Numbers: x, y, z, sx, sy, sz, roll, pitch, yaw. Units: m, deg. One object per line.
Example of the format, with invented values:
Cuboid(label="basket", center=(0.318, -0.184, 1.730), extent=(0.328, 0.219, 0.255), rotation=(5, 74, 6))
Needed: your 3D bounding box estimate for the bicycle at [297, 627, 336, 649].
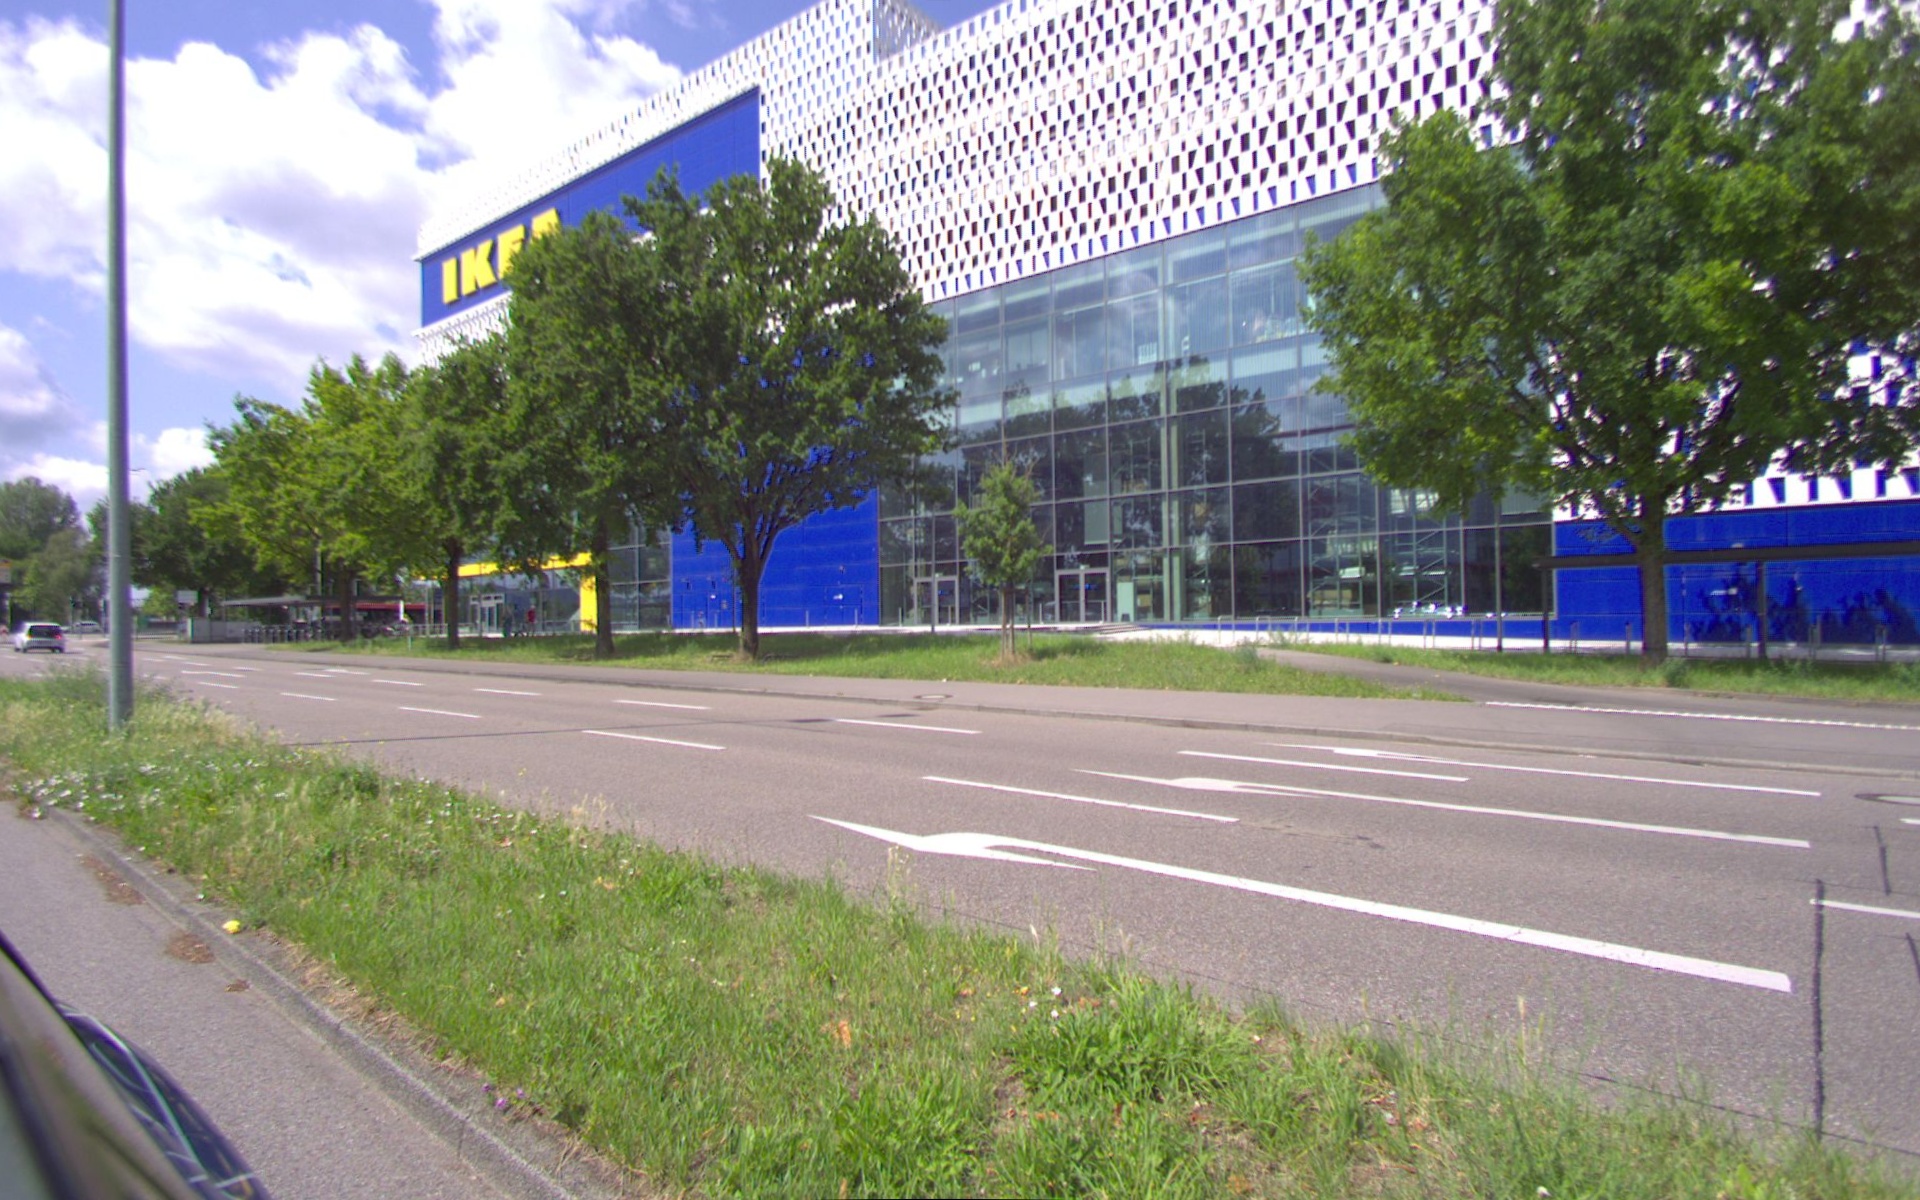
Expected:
Cuboid(label="bicycle", center=(-39.529, 2.303, 62.144), extent=(0.629, 1.282, 1.906), rotation=(-3, -1, 39))

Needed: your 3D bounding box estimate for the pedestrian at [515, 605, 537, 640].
Cuboid(label="pedestrian", center=(-22.903, 1.174, 53.389), extent=(0.886, 1.836, 0.746), rotation=(-2, -1, 40))

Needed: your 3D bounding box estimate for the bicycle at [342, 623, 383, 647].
Cuboid(label="bicycle", center=(-33.933, 2.004, 57.534), extent=(0.629, 1.282, 1.906), rotation=(-3, -1, 39))

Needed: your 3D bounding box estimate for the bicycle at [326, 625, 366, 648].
Cuboid(label="bicycle", center=(-35.819, 2.105, 59.040), extent=(0.629, 1.282, 1.906), rotation=(-3, -1, 39))

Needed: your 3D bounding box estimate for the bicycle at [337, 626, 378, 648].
Cuboid(label="bicycle", center=(-34.625, 2.133, 58.152), extent=(0.629, 1.188, 1.906), rotation=(-3, -1, 39))

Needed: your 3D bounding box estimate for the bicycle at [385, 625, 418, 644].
Cuboid(label="bicycle", center=(-37.692, 2.318, 68.313), extent=(0.596, 1.253, 1.928), rotation=(-1, -1, 35))

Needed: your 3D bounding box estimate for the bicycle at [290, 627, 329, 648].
Cuboid(label="bicycle", center=(-40.508, 2.322, 63.035), extent=(0.629, 1.282, 1.906), rotation=(-3, -1, 39))

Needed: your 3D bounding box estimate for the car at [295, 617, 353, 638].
Cuboid(label="car", center=(-66.960, 2.883, 106.569), extent=(1.996, 2.029, 4.764), rotation=(-3, -1, 36))

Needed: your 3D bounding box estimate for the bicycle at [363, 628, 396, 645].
Cuboid(label="bicycle", center=(-40.359, 2.547, 70.371), extent=(0.519, 1.098, 1.912), rotation=(-3, -1, 35))

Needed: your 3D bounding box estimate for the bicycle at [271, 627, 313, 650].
Cuboid(label="bicycle", center=(-38.964, 2.244, 59.045), extent=(0.629, 1.282, 1.906), rotation=(-3, -1, 39))

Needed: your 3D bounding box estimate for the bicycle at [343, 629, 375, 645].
Cuboid(label="bicycle", center=(-42.682, 2.619, 71.913), extent=(0.528, 1.078, 1.917), rotation=(-1, -1, 35))

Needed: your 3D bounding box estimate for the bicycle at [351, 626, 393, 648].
Cuboid(label="bicycle", center=(-33.071, 2.067, 56.942), extent=(0.629, 1.193, 1.906), rotation=(-3, -1, 39))

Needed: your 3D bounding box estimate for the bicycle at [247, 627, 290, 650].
Cuboid(label="bicycle", center=(-41.858, 2.334, 61.291), extent=(0.629, 1.282, 2.068), rotation=(-3, -1, 39))

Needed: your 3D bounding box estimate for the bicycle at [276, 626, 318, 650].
Cuboid(label="bicycle", center=(-38.183, 2.174, 58.313), extent=(0.629, 1.282, 1.906), rotation=(-3, -1, 39))

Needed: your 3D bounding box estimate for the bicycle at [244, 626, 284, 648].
Cuboid(label="bicycle", center=(-42.618, 2.270, 61.949), extent=(0.629, 1.282, 1.906), rotation=(-3, -1, 39))

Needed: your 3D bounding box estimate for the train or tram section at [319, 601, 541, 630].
Cuboid(label="train or tram section", center=(-64.615, 2.115, 125.172), extent=(4.524, 3.055, 24.807), rotation=(-2, -3, 38))

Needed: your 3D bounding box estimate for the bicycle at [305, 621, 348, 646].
Cuboid(label="bicycle", center=(-34.482, 1.838, 55.111), extent=(0.629, 1.282, 1.906), rotation=(-3, -1, 39))

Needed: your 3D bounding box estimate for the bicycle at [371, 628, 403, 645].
Cuboid(label="bicycle", center=(-39.447, 2.504, 69.690), extent=(0.528, 1.078, 1.917), rotation=(-1, -1, 35))

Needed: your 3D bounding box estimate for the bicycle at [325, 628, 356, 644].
Cuboid(label="bicycle", center=(-44.999, 2.606, 73.510), extent=(0.527, 1.078, 1.918), rotation=(-1, -1, 33))

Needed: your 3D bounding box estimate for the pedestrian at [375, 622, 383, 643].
Cuboid(label="pedestrian", center=(-49.836, 2.798, 86.805), extent=(0.515, 1.716, 0.405), rotation=(-3, -2, 34))

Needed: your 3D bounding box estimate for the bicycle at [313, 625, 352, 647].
Cuboid(label="bicycle", center=(-37.639, 2.166, 60.711), extent=(0.629, 1.282, 1.906), rotation=(-3, -1, 39))

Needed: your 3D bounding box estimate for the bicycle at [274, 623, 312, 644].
Cuboid(label="bicycle", center=(-42.411, 2.110, 64.361), extent=(0.629, 1.282, 1.906), rotation=(-3, -1, 39))

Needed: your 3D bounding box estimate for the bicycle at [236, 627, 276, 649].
Cuboid(label="bicycle", center=(-43.674, 2.364, 62.778), extent=(0.629, 1.282, 1.906), rotation=(-3, -1, 39))

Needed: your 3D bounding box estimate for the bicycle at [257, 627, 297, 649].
Cuboid(label="bicycle", center=(-40.823, 2.276, 60.516), extent=(0.629, 1.282, 1.906), rotation=(-3, -1, 39))

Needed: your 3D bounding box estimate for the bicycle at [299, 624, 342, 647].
Cuboid(label="bicycle", center=(-35.286, 1.957, 55.849), extent=(0.629, 1.192, 1.906), rotation=(-3, -1, 39))

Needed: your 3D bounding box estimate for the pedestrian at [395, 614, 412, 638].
Cuboid(label="pedestrian", center=(-40.215, 1.875, 73.157), extent=(0.710, 1.719, 0.887), rotation=(-1, -1, 39))

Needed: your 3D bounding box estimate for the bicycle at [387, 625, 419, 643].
Cuboid(label="bicycle", center=(-38.017, 2.316, 69.069), extent=(0.528, 1.219, 1.917), rotation=(-1, -1, 35))

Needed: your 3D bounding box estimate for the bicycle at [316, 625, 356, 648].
Cuboid(label="bicycle", center=(-36.952, 2.146, 59.959), extent=(0.629, 1.282, 1.906), rotation=(-3, -1, 39))

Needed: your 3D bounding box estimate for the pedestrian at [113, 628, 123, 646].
Cuboid(label="pedestrian", center=(-68.521, 3.003, 82.351), extent=(0.616, 1.501, 0.435), rotation=(-1, -1, 23))

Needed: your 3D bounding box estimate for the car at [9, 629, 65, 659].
Cuboid(label="car", center=(-45.849, 2.180, 50.239), extent=(3.668, 1.440, 1.626), rotation=(-1, -3, 41))

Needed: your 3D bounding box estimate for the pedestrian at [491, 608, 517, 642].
Cuboid(label="pedestrian", center=(-23.542, 1.284, 52.229), extent=(0.886, 1.715, 0.940), rotation=(-2, -1, 40))

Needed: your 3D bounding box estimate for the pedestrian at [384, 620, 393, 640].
Cuboid(label="pedestrian", center=(-49.578, 2.588, 87.839), extent=(0.408, 1.716, 0.522), rotation=(-2, -1, 30))
